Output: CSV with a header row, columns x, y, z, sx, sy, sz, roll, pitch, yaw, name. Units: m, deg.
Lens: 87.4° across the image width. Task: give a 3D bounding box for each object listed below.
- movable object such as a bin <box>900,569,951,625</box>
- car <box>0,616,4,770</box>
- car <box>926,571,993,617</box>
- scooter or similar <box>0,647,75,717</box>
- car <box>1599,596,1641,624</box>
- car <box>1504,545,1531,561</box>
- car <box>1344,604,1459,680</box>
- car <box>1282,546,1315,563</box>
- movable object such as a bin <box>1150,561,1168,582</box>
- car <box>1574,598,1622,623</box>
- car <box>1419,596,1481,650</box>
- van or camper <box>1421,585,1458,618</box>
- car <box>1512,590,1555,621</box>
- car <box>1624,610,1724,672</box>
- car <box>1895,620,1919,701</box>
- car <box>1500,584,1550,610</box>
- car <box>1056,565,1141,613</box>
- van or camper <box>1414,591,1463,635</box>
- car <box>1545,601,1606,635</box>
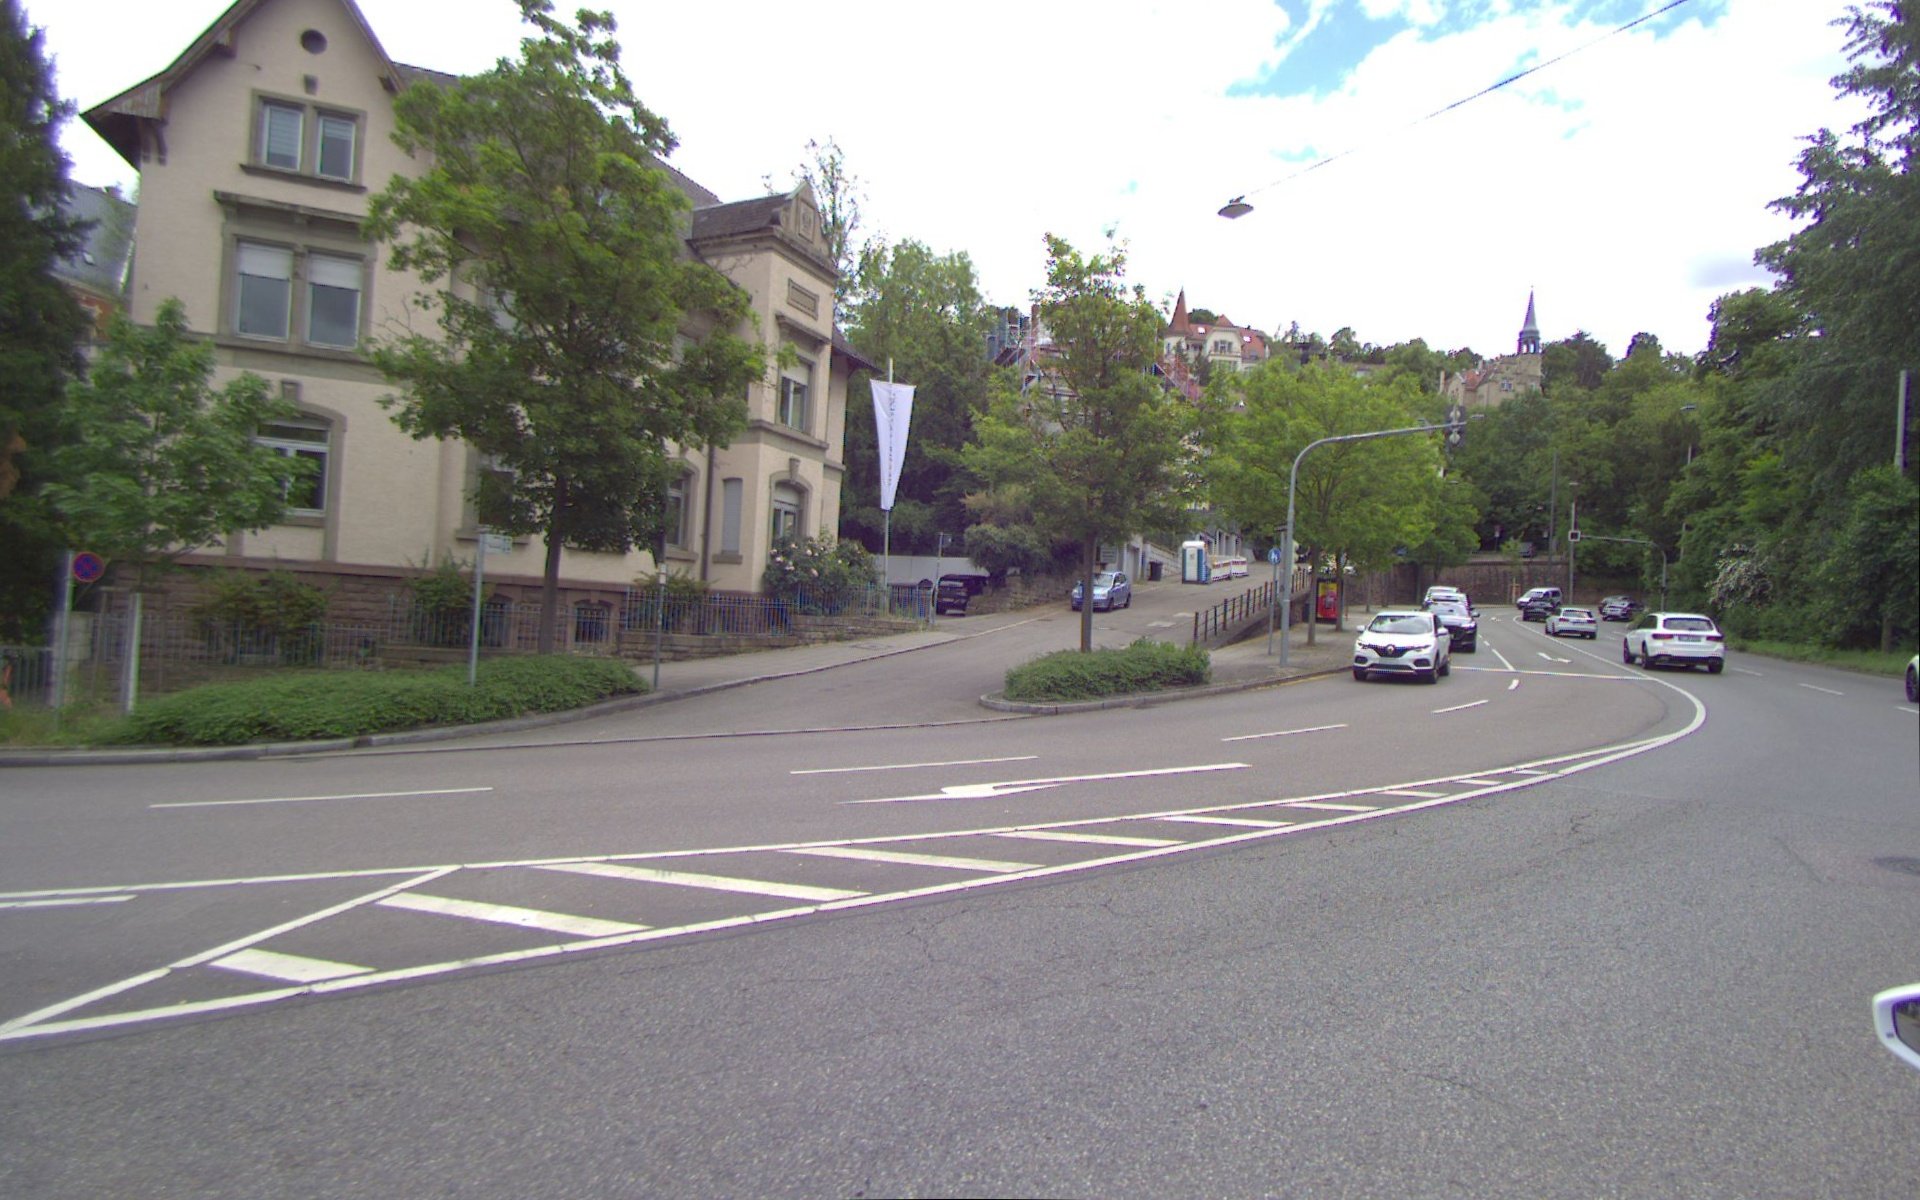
x,y,z,sx,sy,sz,roll,pitch,yaw,name
-1.129,-0.095,32.895,1.201,1.706,0.991,8,5,41,movable object such as a bin
-13.479,1.117,11.042,3.962,1.855,1.917,0,-1,-4,car
0.031,-0.298,41.616,1.959,1.796,4.001,0,2,12,car
-16.608,1.463,17.896,1.184,1.175,0.553,-3,-1,5,scooter or similar
49.451,0.786,75.272,1.972,2.040,3.976,-1,-1,43,car
57.493,-4.826,103.526,1.967,1.506,3.985,2,5,35,car
10.792,0.938,24.407,1.870,1.676,4.363,-1,0,33,car
28.293,-3.787,83.894,1.531,1.296,3.586,1,1,36,car
10.946,-1.542,55.269,0.792,1.055,0.838,-4,-3,20,movable object such as a bin
52.882,0.885,83.236,3.960,2.040,1.980,0,-1,-35,car
17.434,0.784,35.869,1.866,1.815,4.754,-1,0,25,car
31.472,0.064,65.889,1.963,2.041,5.554,3,2,27,van or camper
40.073,0.399,70.176,2.161,2.040,3.985,0,-1,36,car
21.139,1.141,29.896,1.848,1.674,4.335,1,0,28,car
19.630,1.225,19.083,1.837,1.577,3.887,2,0,30,car
48.027,-0.242,85.340,4.244,1.822,1.932,4,2,-35,car
5.559,-0.488,39.898,1.964,1.595,3.991,5,6,29,car
23.156,0.564,48.737,1.962,1.921,5.452,3,1,24,van or camper
30.646,0.852,50.111,2.213,1.539,4.302,2,1,27,car
